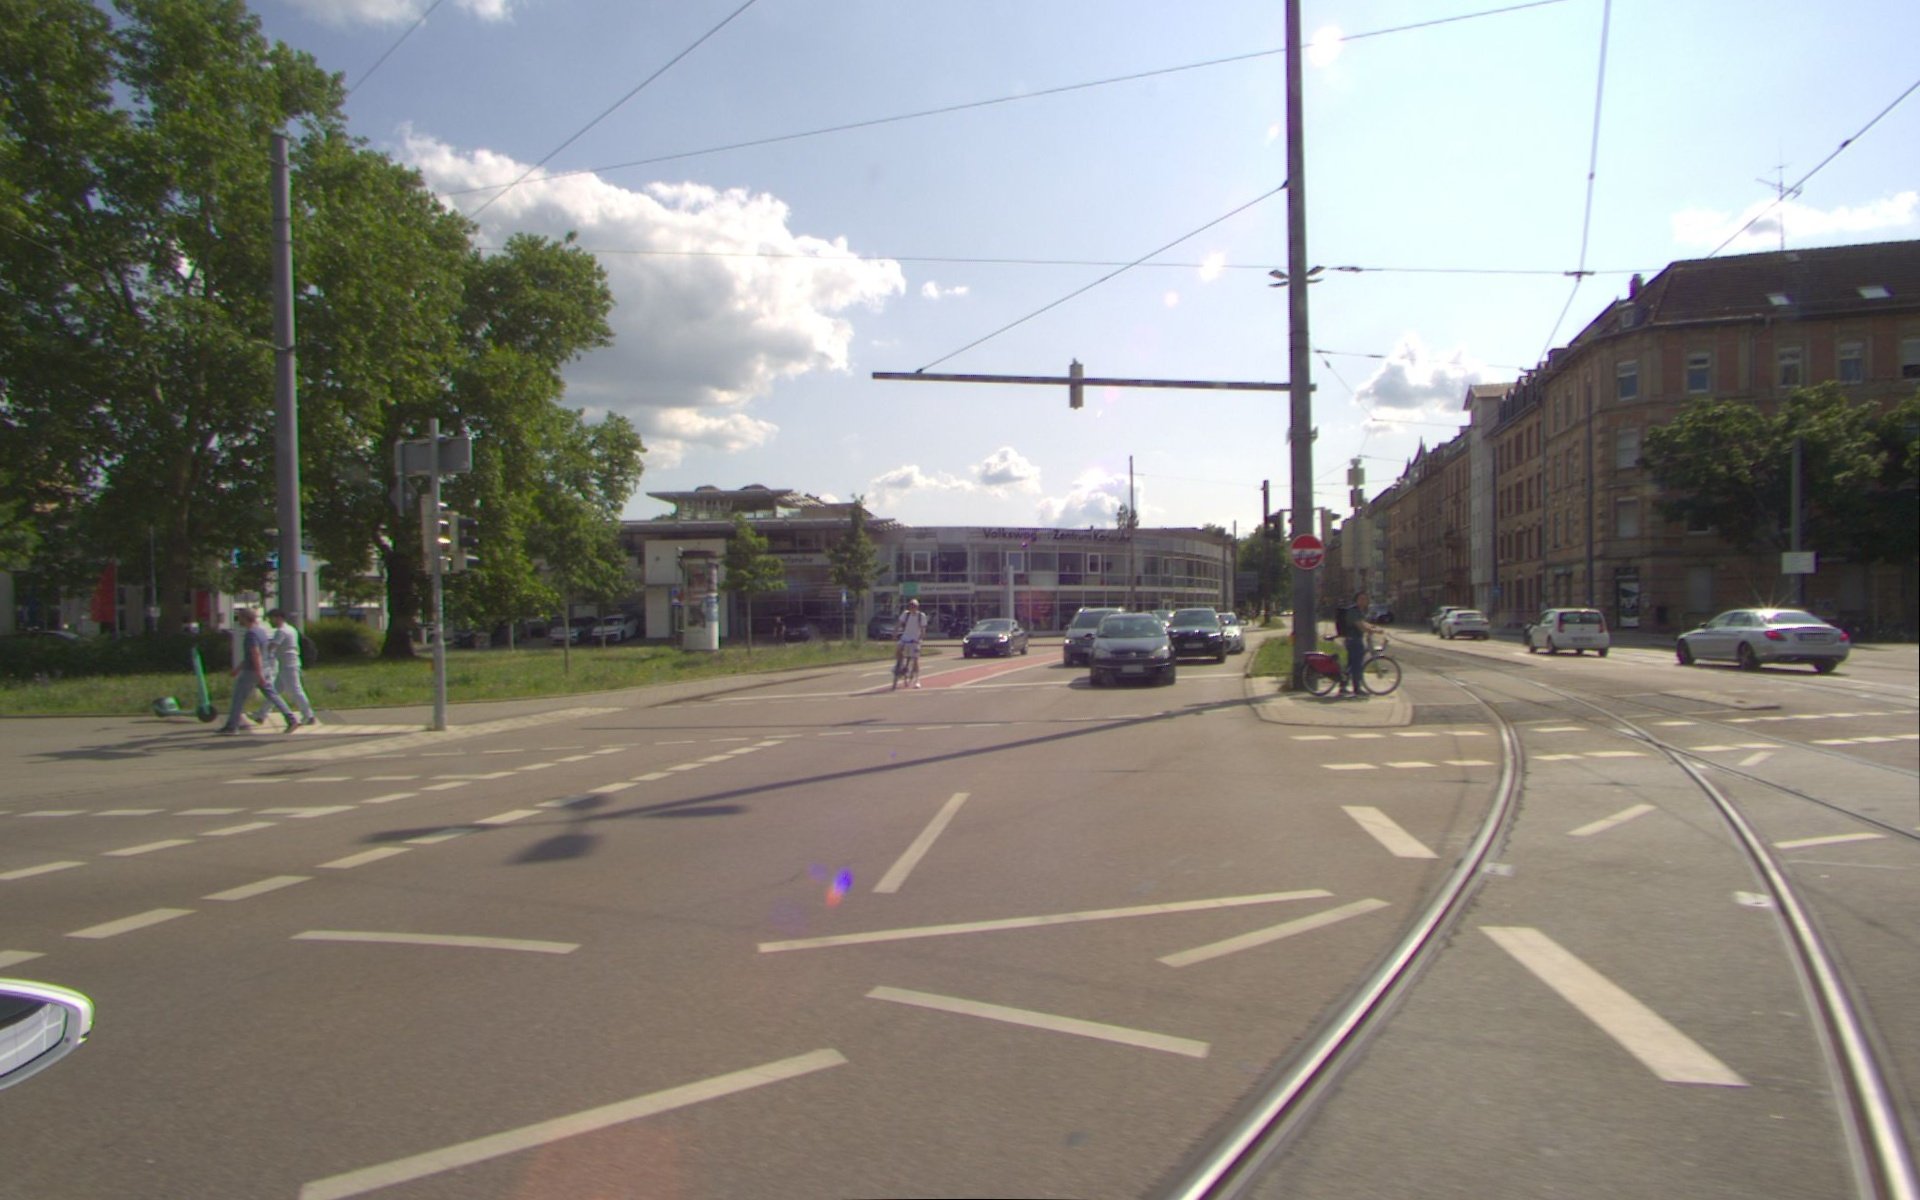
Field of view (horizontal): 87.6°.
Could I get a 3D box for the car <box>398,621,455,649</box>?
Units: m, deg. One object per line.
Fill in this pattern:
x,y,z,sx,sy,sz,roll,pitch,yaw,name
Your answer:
-35.539,2.331,66.619,3.948,1.812,1.831,-2,-2,36,car

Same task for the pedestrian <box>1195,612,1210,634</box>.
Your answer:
19.549,1.862,80.770,0.865,1.759,0.872,1,-1,33,pedestrian

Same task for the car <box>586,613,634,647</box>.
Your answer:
-22.151,1.900,63.455,1.962,2.039,4.231,-2,-2,-7,car

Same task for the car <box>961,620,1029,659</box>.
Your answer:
1.361,1.448,37.180,1.711,1.305,3.996,-1,-1,14,car

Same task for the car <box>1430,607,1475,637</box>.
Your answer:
29.499,1.333,60.084,1.809,1.673,3.995,0,-1,17,car

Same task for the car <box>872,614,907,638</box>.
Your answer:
-4.755,1.793,68.365,1.789,1.553,3.918,-2,-2,5,car

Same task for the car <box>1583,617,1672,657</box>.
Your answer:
24.483,1.313,36.879,1.674,1.390,4.126,0,-1,18,car

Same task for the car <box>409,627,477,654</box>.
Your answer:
-36.655,2.867,71.013,3.922,1.813,1.842,-1,-1,5,car

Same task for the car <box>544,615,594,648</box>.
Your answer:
-24.777,1.997,63.580,1.936,1.962,4.231,-2,-2,-7,car

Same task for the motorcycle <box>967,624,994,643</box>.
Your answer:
1.324,2.187,65.102,1.945,1.201,0.561,3,-1,-45,motorcycle

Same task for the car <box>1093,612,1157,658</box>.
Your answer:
5.951,1.218,35.869,1.603,1.480,3.961,-1,-1,19,car

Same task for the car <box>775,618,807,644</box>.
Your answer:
-10.490,1.945,62.383,1.789,1.553,3.917,-2,-2,-7,car

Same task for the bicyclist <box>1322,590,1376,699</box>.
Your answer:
6.449,0.722,16.619,0.649,1.761,0.639,1,0,4,bicyclist

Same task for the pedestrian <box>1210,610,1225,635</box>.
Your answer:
20.582,1.779,80.007,0.865,1.947,0.872,1,-1,30,pedestrian

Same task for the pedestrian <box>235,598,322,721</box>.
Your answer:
-10.102,0.882,14.866,0.911,1.766,0.587,2,-1,-22,pedestrian

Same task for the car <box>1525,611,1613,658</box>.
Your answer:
19.833,1.086,32.778,1.625,1.440,3.993,-1,-1,19,car

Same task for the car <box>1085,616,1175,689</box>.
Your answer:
3.635,1.057,21.291,1.710,1.391,3.639,-1,-1,11,car

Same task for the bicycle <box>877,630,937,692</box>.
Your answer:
-1.107,1.272,21.299,0.747,1.208,2.149,-1,-1,11,bicycle

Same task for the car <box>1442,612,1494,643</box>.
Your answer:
24.928,1.356,49.205,1.823,1.437,3.672,0,-1,20,car

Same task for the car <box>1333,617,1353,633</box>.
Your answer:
41.854,2.716,109.451,1.809,1.673,3.996,0,-1,17,car

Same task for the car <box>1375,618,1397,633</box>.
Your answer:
47.620,2.866,111.895,1.809,1.673,3.996,0,-1,17,car

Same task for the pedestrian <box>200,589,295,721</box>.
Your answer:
-9.804,0.756,13.802,0.912,1.766,0.587,2,-1,-24,pedestrian

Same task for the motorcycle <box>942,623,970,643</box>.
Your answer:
-0.257,2.132,64.771,1.945,1.201,0.561,3,-1,-45,motorcycle

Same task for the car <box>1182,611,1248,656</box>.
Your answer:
8.965,1.148,35.016,1.872,1.480,3.961,-1,-1,19,car

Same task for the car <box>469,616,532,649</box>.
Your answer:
-29.407,2.098,64.202,1.935,1.962,5.070,-2,-2,-4,car

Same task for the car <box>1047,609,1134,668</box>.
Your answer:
3.903,1.088,29.372,1.713,1.593,3.992,-1,-1,19,car

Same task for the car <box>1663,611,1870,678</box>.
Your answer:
19.447,1.008,24.459,1.900,1.474,4.757,0,-1,11,car

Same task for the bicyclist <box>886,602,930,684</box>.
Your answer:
-1.092,0.900,21.326,0.747,1.705,0.760,-1,0,12,bicyclist

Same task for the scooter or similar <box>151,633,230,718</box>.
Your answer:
-11.587,1.125,15.075,1.155,1.209,0.399,1,-1,23,scooter or similar

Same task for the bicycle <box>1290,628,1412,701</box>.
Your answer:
6.453,1.057,16.590,1.749,1.140,0.639,0,0,4,bicycle

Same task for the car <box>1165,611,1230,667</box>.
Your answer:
6.859,1.075,28.764,1.663,1.480,3.964,-1,-1,15,car
